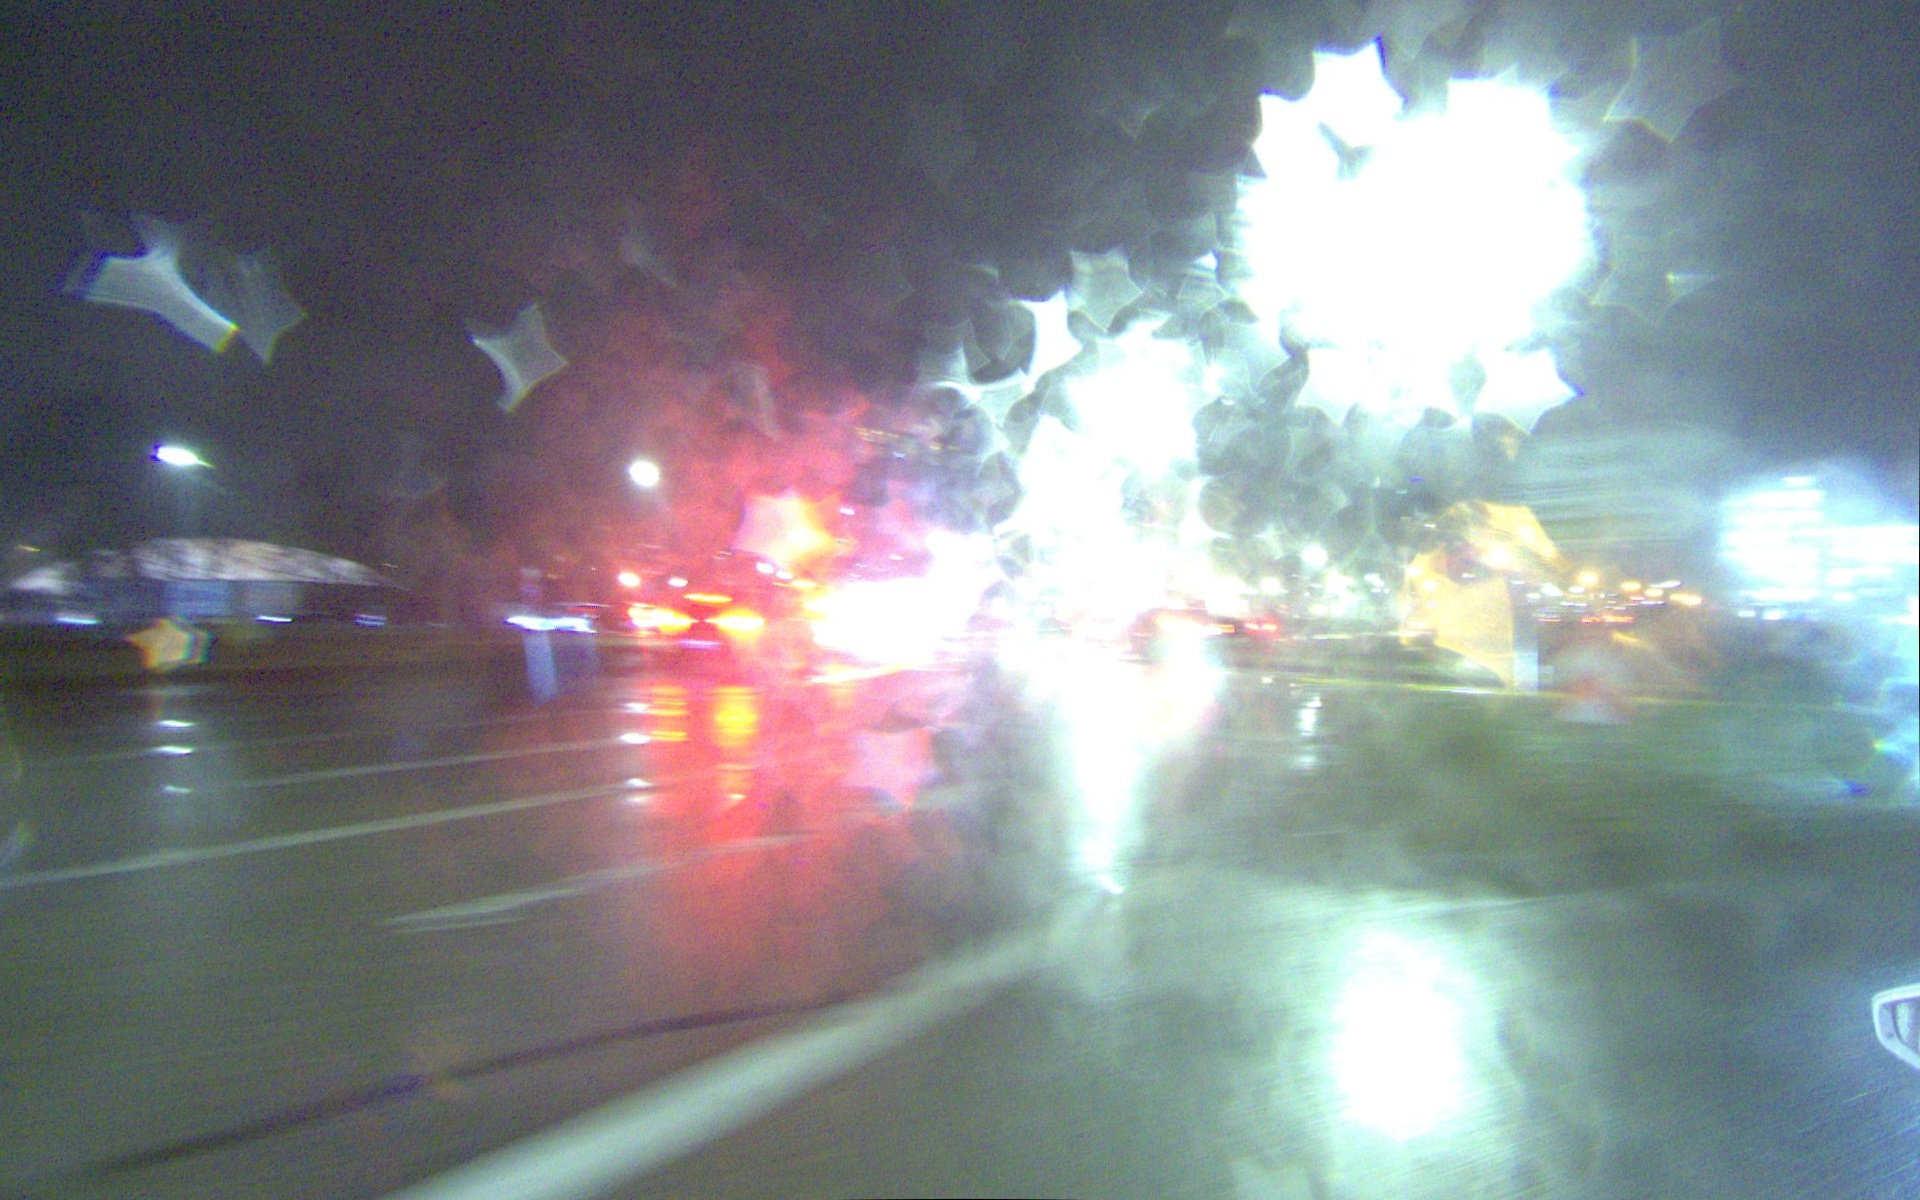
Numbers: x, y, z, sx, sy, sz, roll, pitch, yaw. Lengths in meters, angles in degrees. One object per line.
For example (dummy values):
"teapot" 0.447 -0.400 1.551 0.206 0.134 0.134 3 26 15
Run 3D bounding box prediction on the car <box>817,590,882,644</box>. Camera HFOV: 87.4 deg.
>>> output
"car" -3.582 0.485 31.996 1.707 1.600 3.955 0 1 -12

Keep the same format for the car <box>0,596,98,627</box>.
"car" -44.075 0.531 48.093 3.971 1.464 1.818 0 1 -31

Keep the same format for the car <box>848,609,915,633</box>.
"car" -5.089 1.363 64.862 3.960 1.464 1.823 0 1 -23

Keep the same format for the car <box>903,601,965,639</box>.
"car" -1.170 0.808 43.092 1.740 1.506 3.986 0 1 -16

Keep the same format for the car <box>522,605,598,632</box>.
"car" -22.748 1.048 57.190 3.960 1.464 1.823 0 1 -23

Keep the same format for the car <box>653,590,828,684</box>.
"car" -4.088 0.619 19.388 1.702 1.600 3.966 0 1 14

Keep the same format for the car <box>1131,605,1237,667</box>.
"car" 6.594 1.006 30.017 1.830 1.662 3.885 0 1 -8

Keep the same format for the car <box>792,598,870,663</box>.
"car" -3.409 0.759 27.151 1.841 1.600 3.962 0 1 -3

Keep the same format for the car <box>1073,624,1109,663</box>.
"car" 6.114 2.016 47.092 1.564 1.605 4.002 0 1 6

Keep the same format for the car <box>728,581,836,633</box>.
"car" -7.867 0.236 43.778 2.488 2.117 6.257 0 1 -32

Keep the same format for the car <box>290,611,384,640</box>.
"car" -32.866 1.329 53.100 3.960 1.464 1.823 0 1 -23
